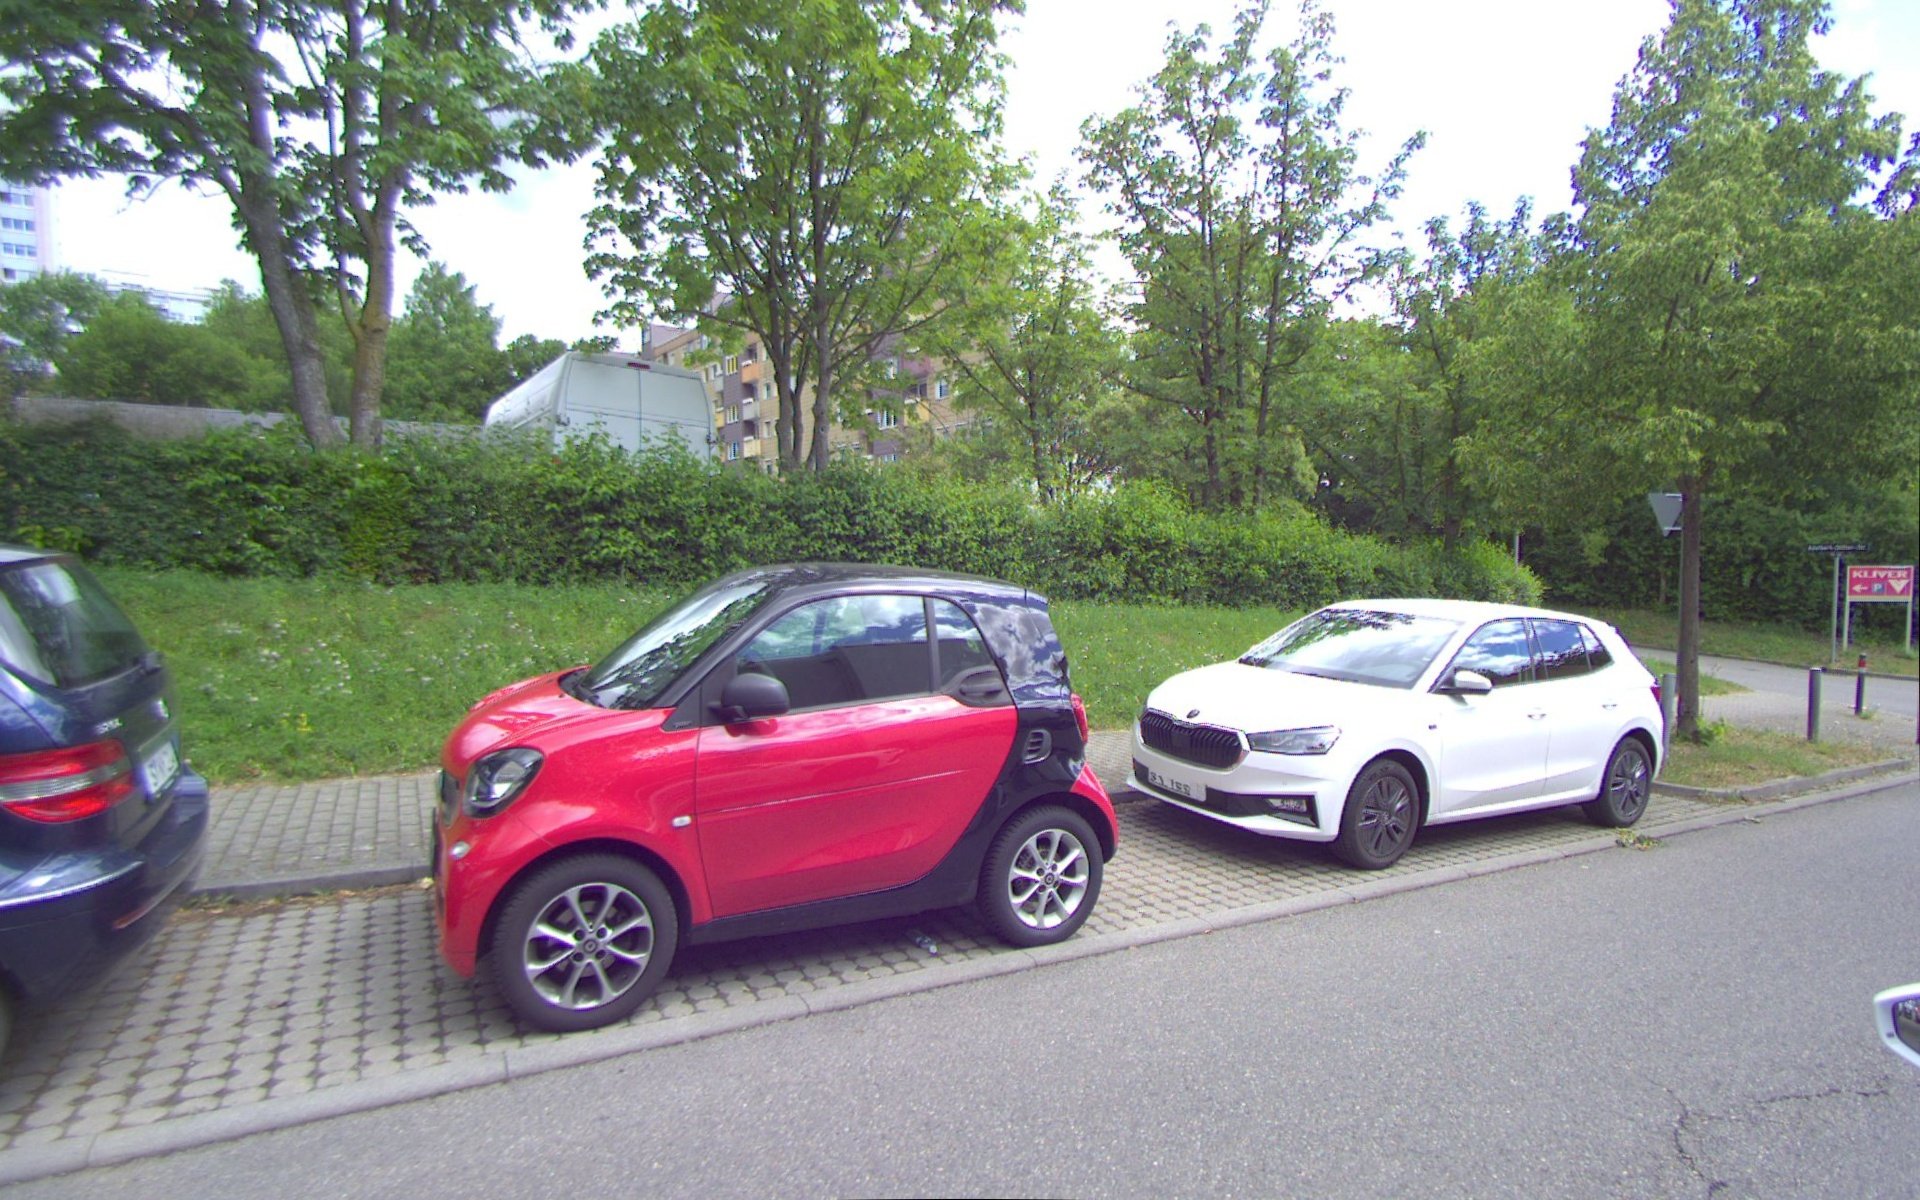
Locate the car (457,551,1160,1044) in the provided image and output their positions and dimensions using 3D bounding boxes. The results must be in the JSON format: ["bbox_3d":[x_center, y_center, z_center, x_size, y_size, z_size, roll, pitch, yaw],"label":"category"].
[{"bbox_3d":[-0.678,0.604,4.413,2.680,1.526,1.522,1,2,-29],"label":"car"}]

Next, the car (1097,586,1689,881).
[{"bbox_3d":[3.011,0.702,6.812,3.923,1.456,1.666,1,2,-30],"label":"car"}]

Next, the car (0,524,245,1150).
[{"bbox_3d":[-4.225,0.537,2.520,3.794,1.580,1.874,1,3,-31],"label":"car"}]

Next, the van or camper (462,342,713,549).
[{"bbox_3d":[-5.042,-1.755,13.133,1.980,2.114,4.822,-1,3,-34],"label":"van or camper"}]
